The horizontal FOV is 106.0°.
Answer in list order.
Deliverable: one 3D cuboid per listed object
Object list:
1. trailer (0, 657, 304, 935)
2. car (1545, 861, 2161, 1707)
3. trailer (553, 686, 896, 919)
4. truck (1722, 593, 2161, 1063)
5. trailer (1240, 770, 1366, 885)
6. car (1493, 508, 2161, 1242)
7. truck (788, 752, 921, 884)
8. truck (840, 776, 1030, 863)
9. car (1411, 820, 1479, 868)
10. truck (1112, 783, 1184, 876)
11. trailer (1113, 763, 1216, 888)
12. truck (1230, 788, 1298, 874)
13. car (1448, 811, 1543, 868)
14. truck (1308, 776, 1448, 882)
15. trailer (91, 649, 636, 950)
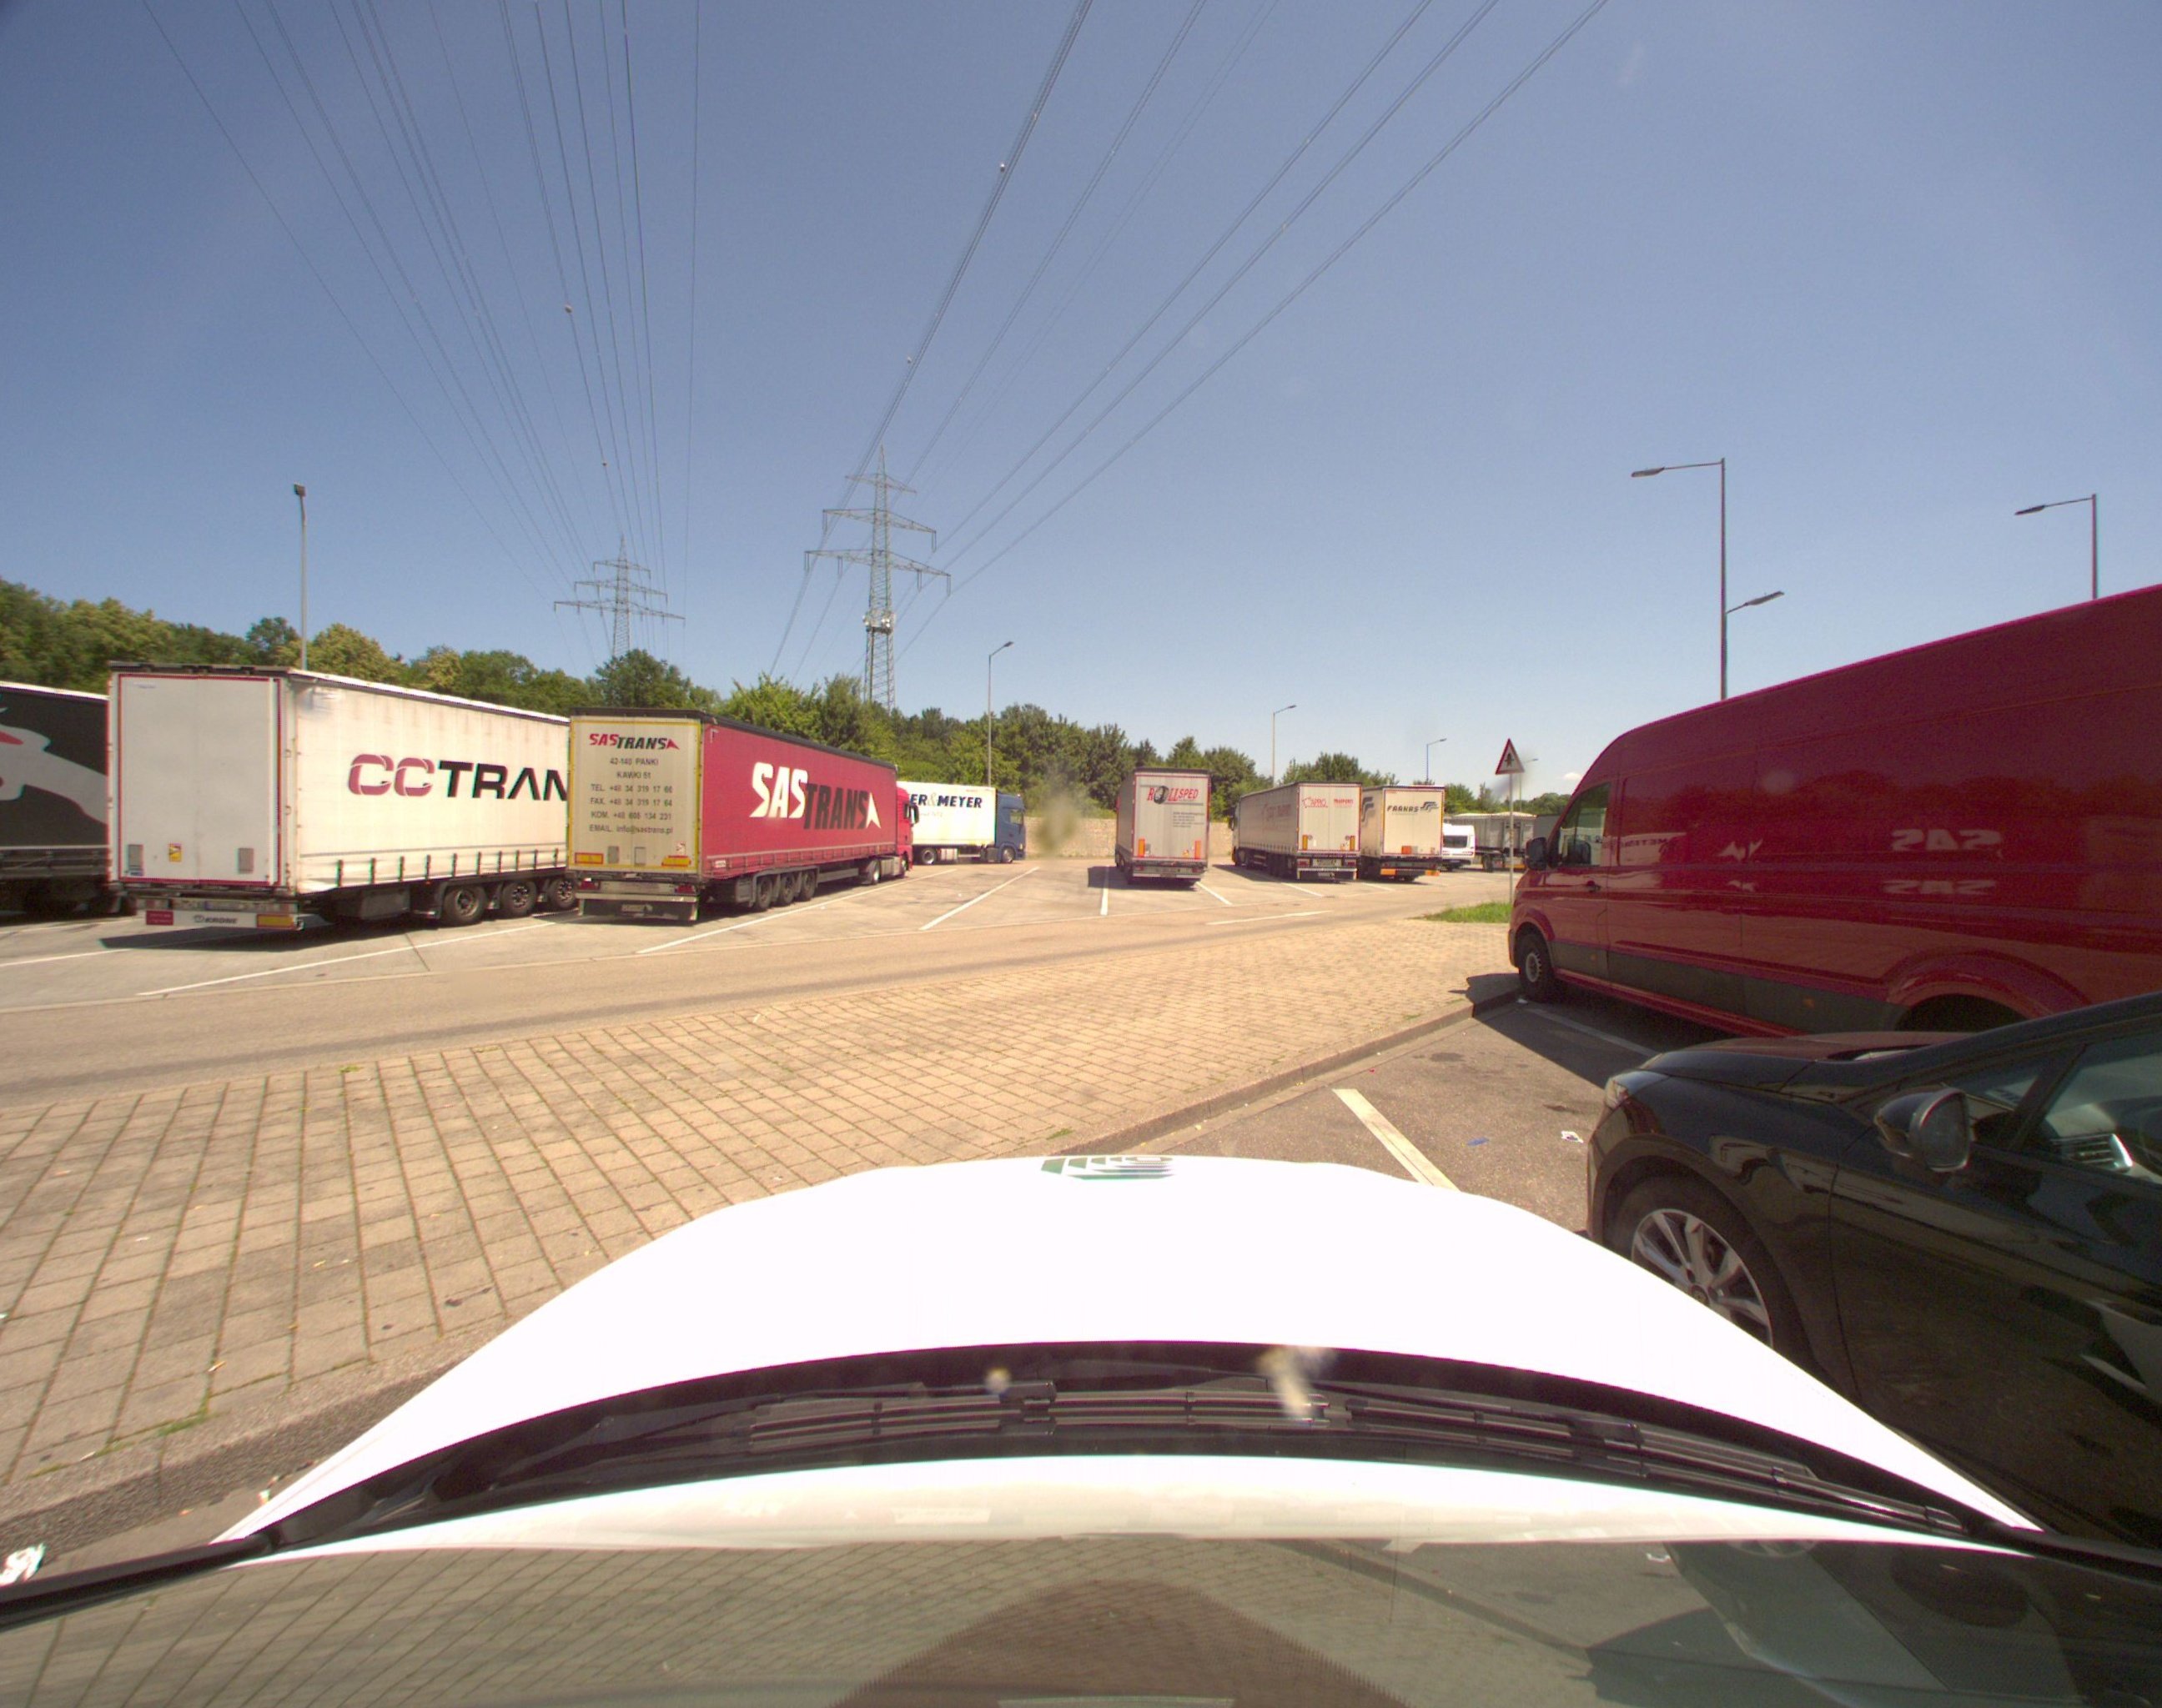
[{"bbox_3d":[-18.560,-0.939,14.849,2.668,4.444,6.151,-1,1,2],"label":"trailer"},{"bbox_3d":[2.532,0.743,0.960,1.772,1.457,3.682,0,-1,-2],"label":"car"},{"bbox_3d":[-8.003,-1.029,21.450,2.789,4.219,13.208,-1,1,2],"label":"trailer"},{"bbox_3d":[7.826,-0.153,6.042,2.508,2.827,4.821,0,-1,3],"label":"truck"},{"bbox_3d":[9.905,-1.116,38.191,2.672,4.452,12.833,-1,1,1],"label":"trailer"},{"bbox_3d":[5.124,0.029,5.506,1.984,2.633,6.393,-1,1,5],"label":"car"},{"bbox_3d":[-7.751,-1.179,28.706,2.795,4.133,5.896,-1,1,2],"label":"truck"},{"bbox_3d":[-7.174,-1.582,41.819,10.112,4.033,2.214,0,0,-44],"label":"truck"},{"bbox_3d":[20.539,-0.518,46.121,2.107,2.599,4.001,0,-1,2],"label":"car"},{"bbox_3d":[2.965,-1.088,37.835,2.862,3.980,6.029,0,1,0],"label":"truck"},{"bbox_3d":[2.944,-1.005,32.143,2.888,4.013,11.316,-1,1,0],"label":"trailer"},{"bbox_3d":[10.087,-1.238,45.434,2.651,4.452,5.866,-1,1,2],"label":"truck"},{"bbox_3d":[24.138,-0.821,47.743,2.490,3.074,6.353,-1,1,2],"label":"car"},{"bbox_3d":[13.533,-0.942,38.545,2.577,4.226,11.974,0,-1,2],"label":"truck"},{"bbox_3d":[-12.196,-0.815,15.417,2.744,4.152,8.291,0,1,2],"label":"trailer"}]
